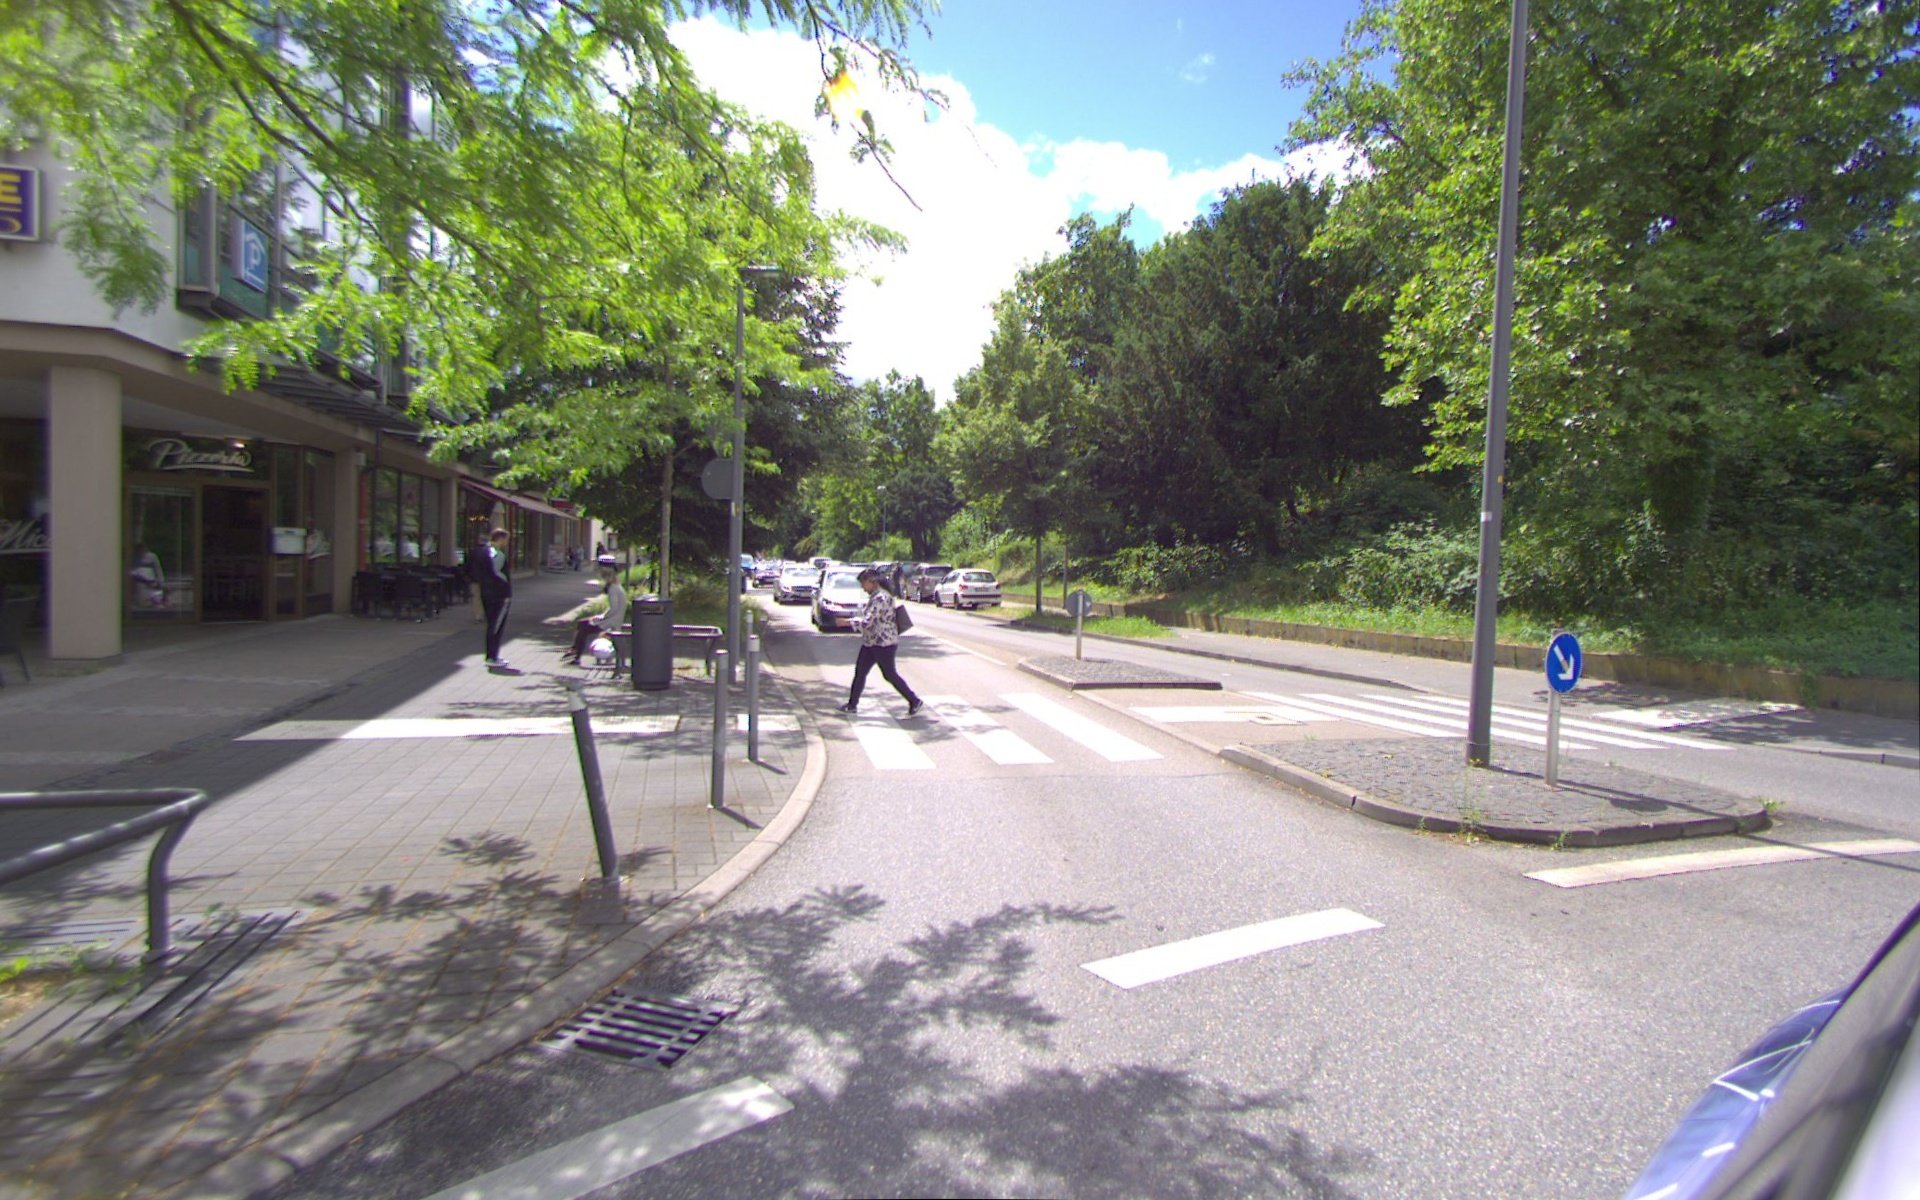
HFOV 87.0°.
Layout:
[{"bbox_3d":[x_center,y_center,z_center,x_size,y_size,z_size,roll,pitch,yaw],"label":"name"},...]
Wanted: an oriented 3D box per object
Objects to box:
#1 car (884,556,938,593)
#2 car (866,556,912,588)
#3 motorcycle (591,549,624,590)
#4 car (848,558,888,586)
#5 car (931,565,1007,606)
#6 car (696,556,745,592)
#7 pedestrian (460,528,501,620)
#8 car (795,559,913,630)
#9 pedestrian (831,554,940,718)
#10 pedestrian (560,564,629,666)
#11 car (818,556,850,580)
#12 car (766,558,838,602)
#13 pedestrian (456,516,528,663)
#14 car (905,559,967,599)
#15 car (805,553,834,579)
[{"bbox_3d":[-2.308,-1.192,46.320,1.894,1.504,4.009,2,2,-10],"label":"car"},{"bbox_3d":[-3.697,-1.465,52.013,1.894,1.504,4.008,2,2,-10],"label":"car"},{"bbox_3d":[-11.812,-1.038,33.970,0.840,1.307,2.192,1,3,-15],"label":"motorcycle"},{"bbox_3d":[-5.408,-1.668,59.043,1.894,1.504,4.008,2,2,-10],"label":"car"},{"bbox_3d":[0.265,-0.565,36.694,1.720,1.346,4.010,-1,3,-15],"label":"car"},{"bbox_3d":[-11.034,-1.225,46.435,1.958,1.526,4.596,2,2,-16],"label":"car"},{"bbox_3d":[-9.114,-0.499,19.231,0.605,1.695,0.699,2,1,-30],"label":"pedestrian"},{"bbox_3d":[-2.676,-0.214,24.473,1.958,1.526,4.596,0,2,-17],"label":"car"},{"bbox_3d":[-0.757,0.340,10.359,0.773,1.573,0.758,3,1,30],"label":"pedestrian"},{"bbox_3d":[-4.832,0.190,13.420,0.684,1.301,0.618,2,1,-5],"label":"pedestrian"},{"bbox_3d":[-8.595,-2.162,68.931,1.894,1.504,4.008,2,2,-10],"label":"car"},{"bbox_3d":[-5.988,-0.795,37.841,1.958,1.526,4.596,0,2,-18],"label":"car"},{"bbox_3d":[-6.097,-0.143,13.207,0.683,1.841,0.619,2,2,-12],"label":"pedestrian"},{"bbox_3d":[-1.067,-0.888,41.892,1.894,1.504,4.008,2,2,-10],"label":"car"},{"bbox_3d":[-10.457,-2.535,75.330,1.894,1.826,4.008,2,2,-10],"label":"car"}]
